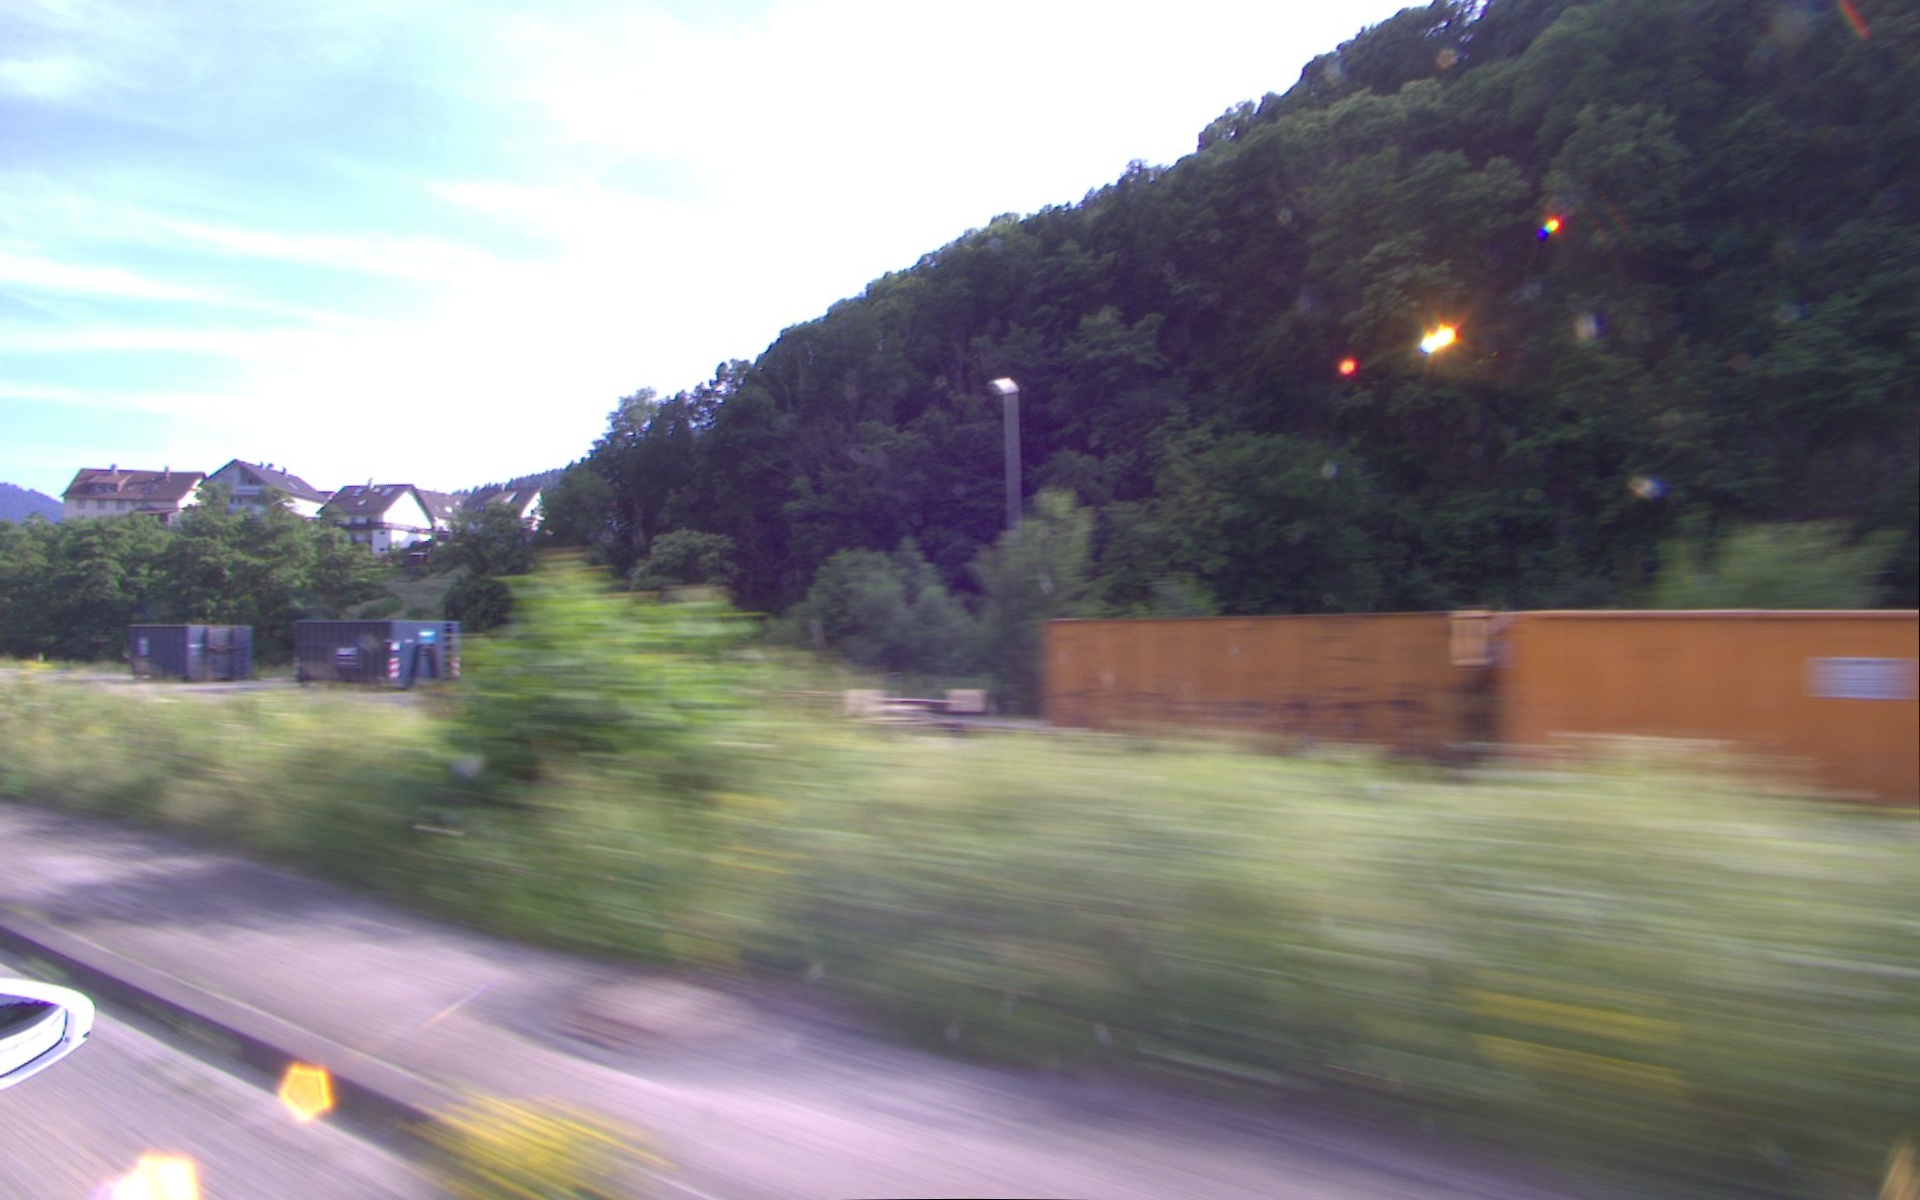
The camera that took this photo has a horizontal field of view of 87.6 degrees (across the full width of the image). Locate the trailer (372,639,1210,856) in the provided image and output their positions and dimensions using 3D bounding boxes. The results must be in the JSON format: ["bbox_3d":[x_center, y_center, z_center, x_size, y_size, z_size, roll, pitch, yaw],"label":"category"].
[{"bbox_3d":[-2.421,1.317,11.175,9.742,1.491,2.791,-1,-5,31],"label":"trailer"}]
